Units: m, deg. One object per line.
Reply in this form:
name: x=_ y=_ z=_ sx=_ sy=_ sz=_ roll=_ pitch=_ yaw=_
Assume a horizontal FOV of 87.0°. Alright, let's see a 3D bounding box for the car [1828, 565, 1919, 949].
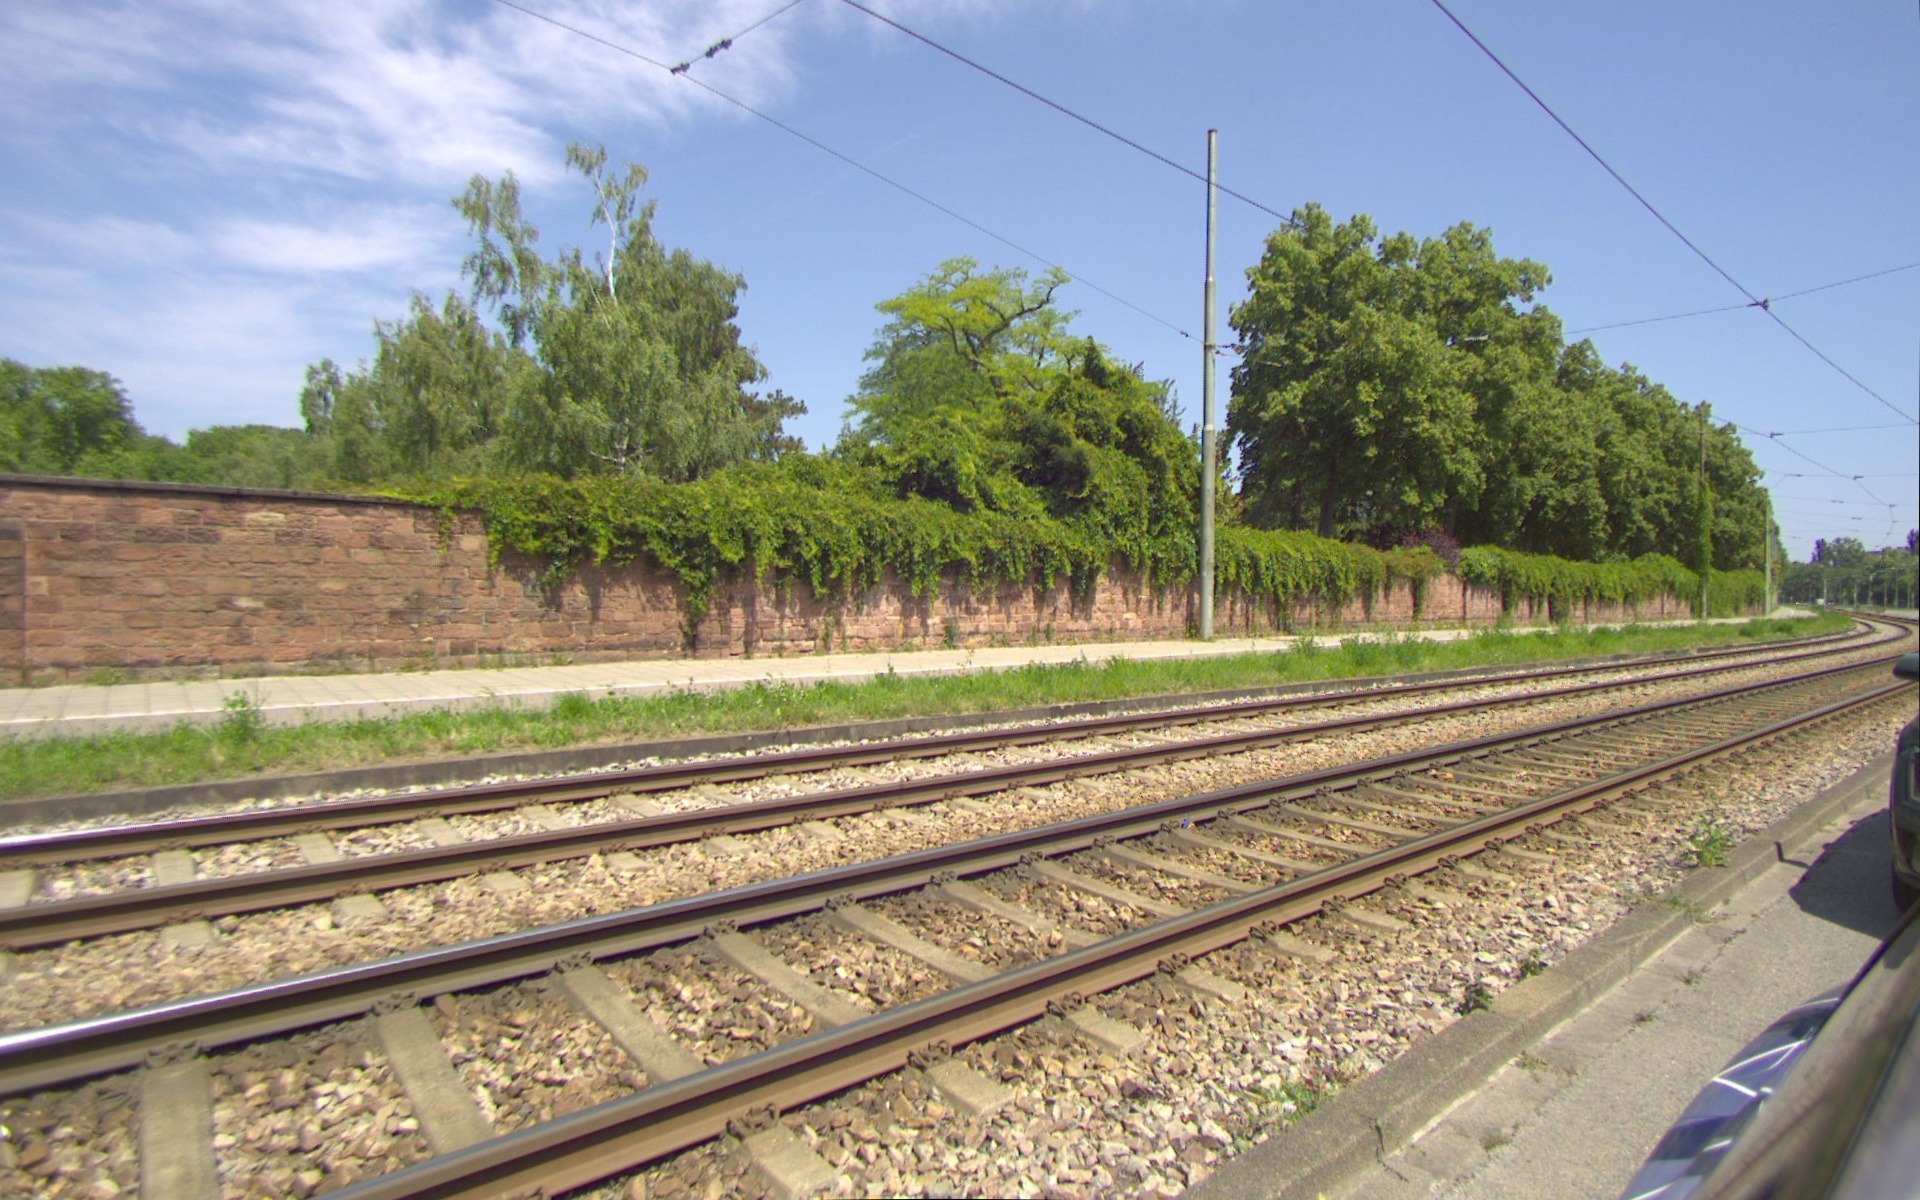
car: x=5.913 y=0.630 z=4.751 sx=3.927 sy=1.563 sz=2.062 roll=0 pitch=-1 yaw=-38
